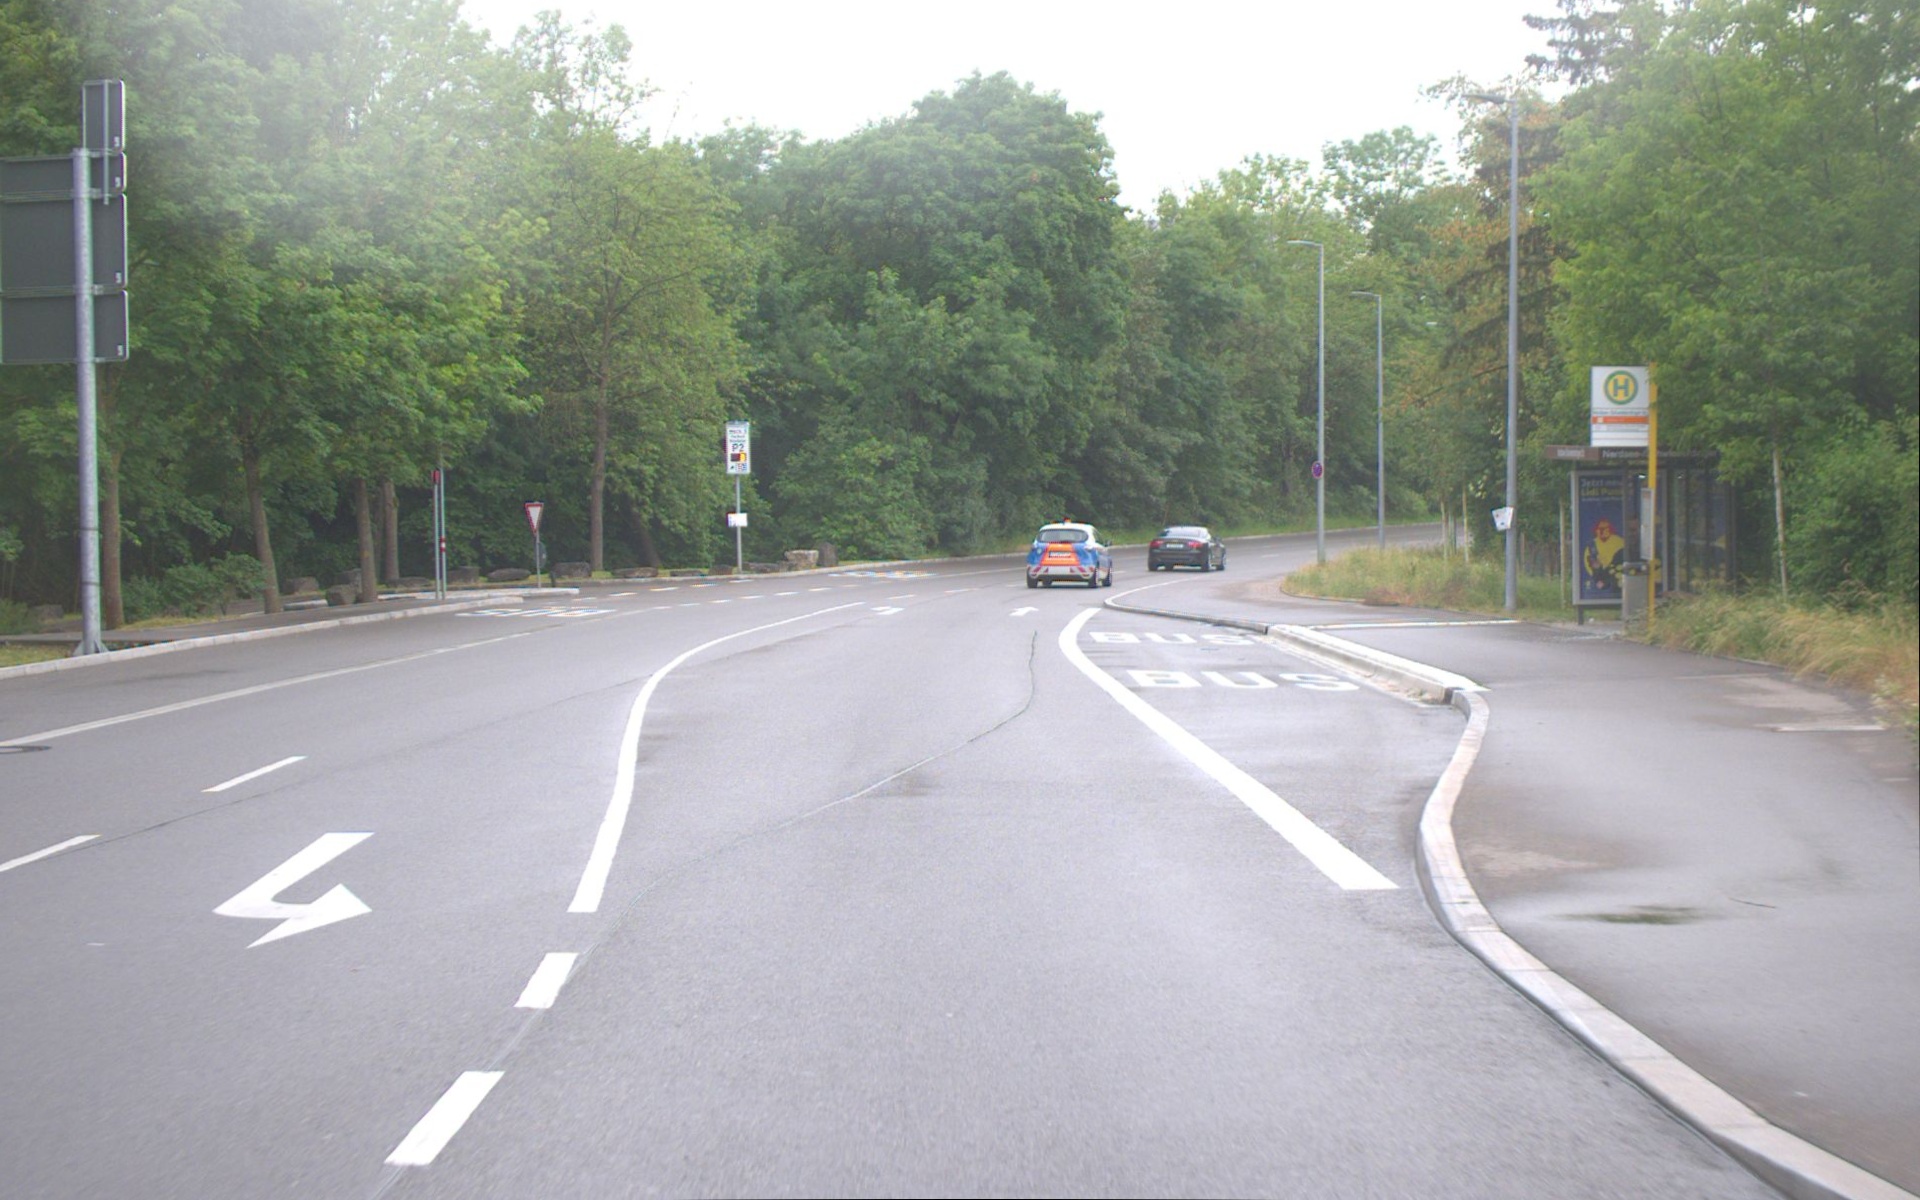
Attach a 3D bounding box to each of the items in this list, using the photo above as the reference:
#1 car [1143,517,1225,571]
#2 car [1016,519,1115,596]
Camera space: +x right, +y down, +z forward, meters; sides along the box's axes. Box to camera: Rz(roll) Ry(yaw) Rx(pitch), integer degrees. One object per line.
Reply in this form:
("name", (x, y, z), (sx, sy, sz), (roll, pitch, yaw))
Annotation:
("car", (6.819, -1.719, 104.286), (1.928, 1.481, 3.798), (-1, 3, 12))
("car", (2.607, -1.065, 84.043), (1.994, 1.683, 3.999), (-1, 3, 8))
